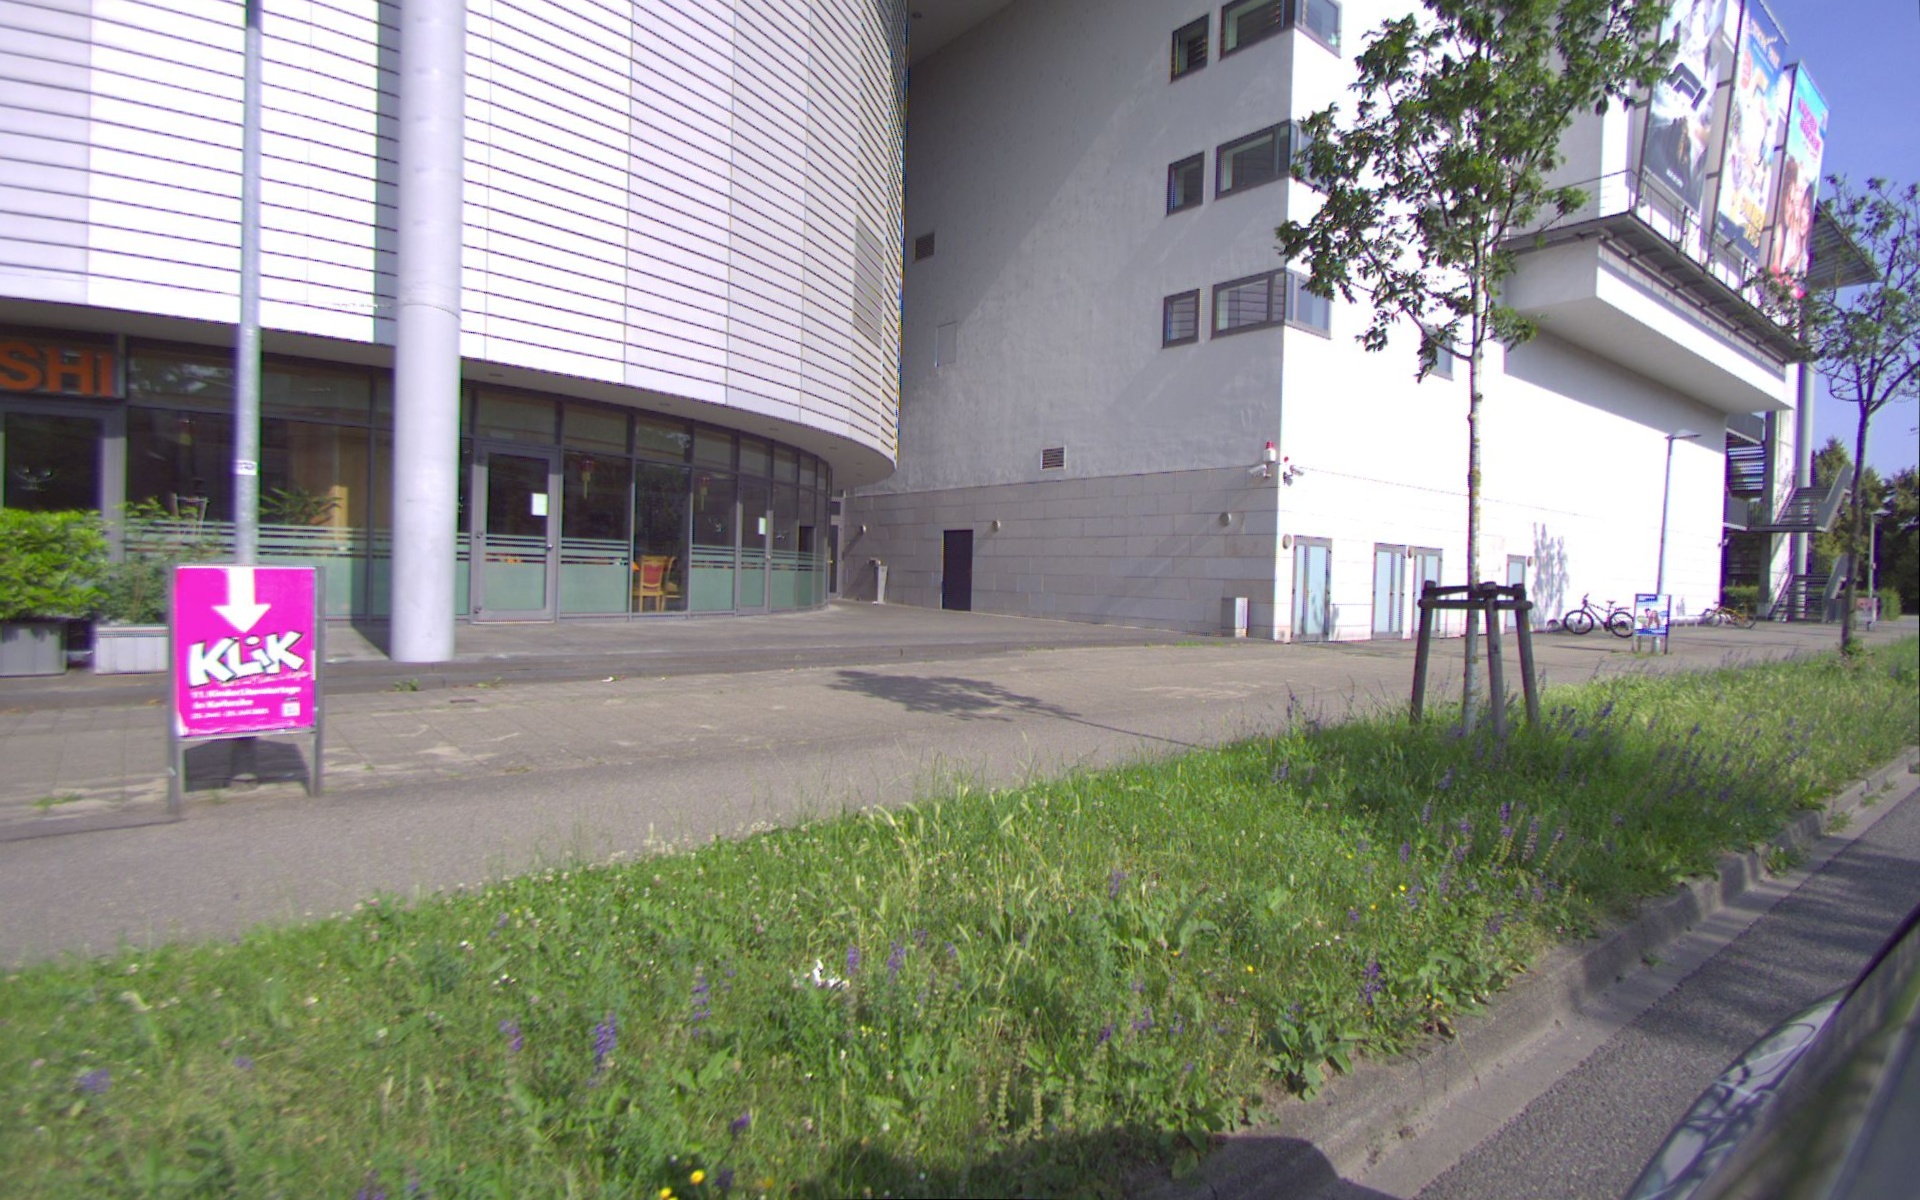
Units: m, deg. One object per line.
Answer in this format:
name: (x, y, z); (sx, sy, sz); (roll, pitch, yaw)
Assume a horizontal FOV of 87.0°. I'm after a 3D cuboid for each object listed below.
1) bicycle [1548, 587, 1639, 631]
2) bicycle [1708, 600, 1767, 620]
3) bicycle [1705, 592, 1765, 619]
bicycle: (17.380, 0.223, 27.818); (0.662, 1.116, 2.016); (0, 1, -35)
bicycle: (28.959, 0.363, 37.695); (0.528, 0.653, 1.661); (0, 2, -38)
bicycle: (28.492, 0.197, 37.213); (0.474, 0.926, 1.661); (0, 2, -38)
